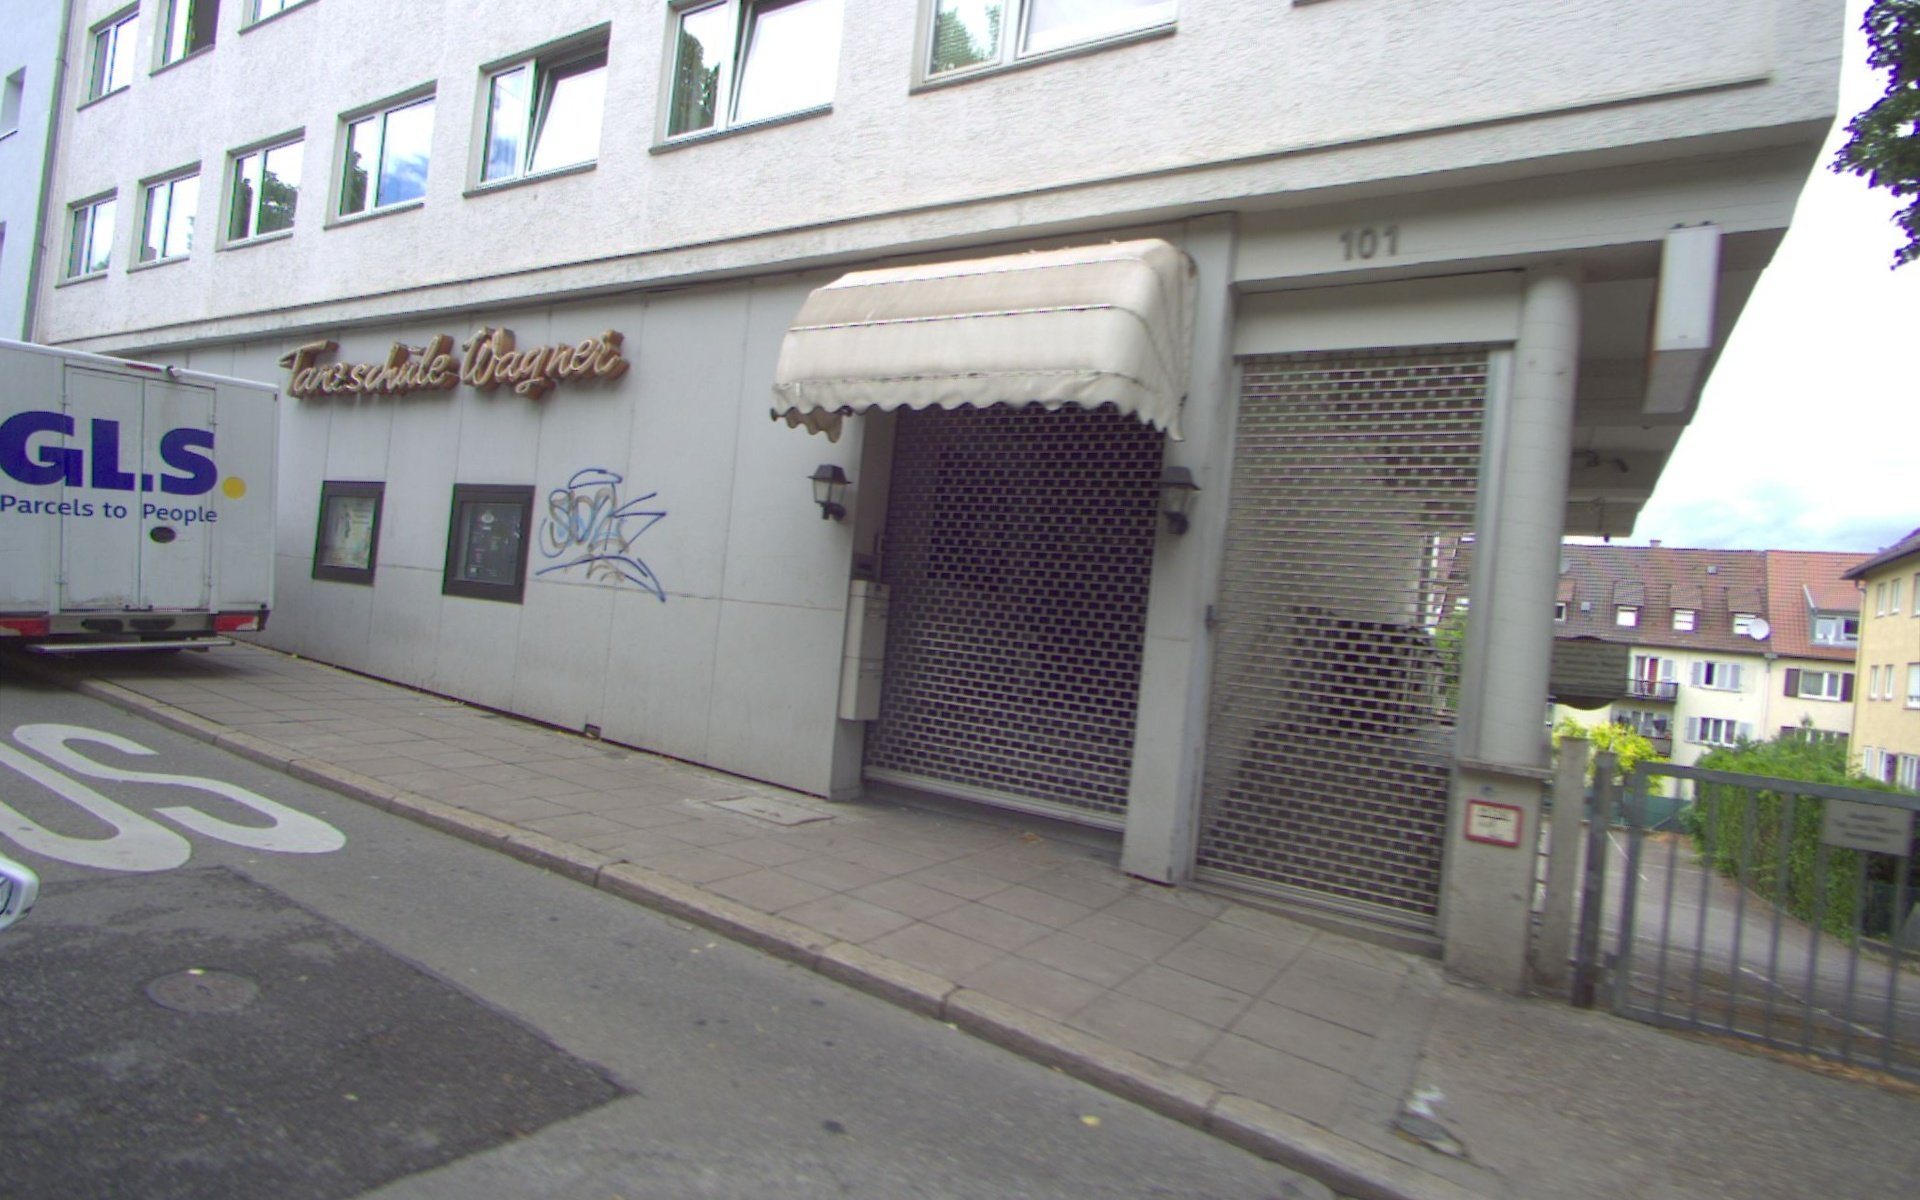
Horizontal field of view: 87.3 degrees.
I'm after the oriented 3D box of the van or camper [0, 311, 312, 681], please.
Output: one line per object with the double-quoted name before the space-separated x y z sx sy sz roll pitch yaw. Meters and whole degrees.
"van or camper" -10.032 -1.064 10.529 7.119 2.836 2.483 6 -1 32
